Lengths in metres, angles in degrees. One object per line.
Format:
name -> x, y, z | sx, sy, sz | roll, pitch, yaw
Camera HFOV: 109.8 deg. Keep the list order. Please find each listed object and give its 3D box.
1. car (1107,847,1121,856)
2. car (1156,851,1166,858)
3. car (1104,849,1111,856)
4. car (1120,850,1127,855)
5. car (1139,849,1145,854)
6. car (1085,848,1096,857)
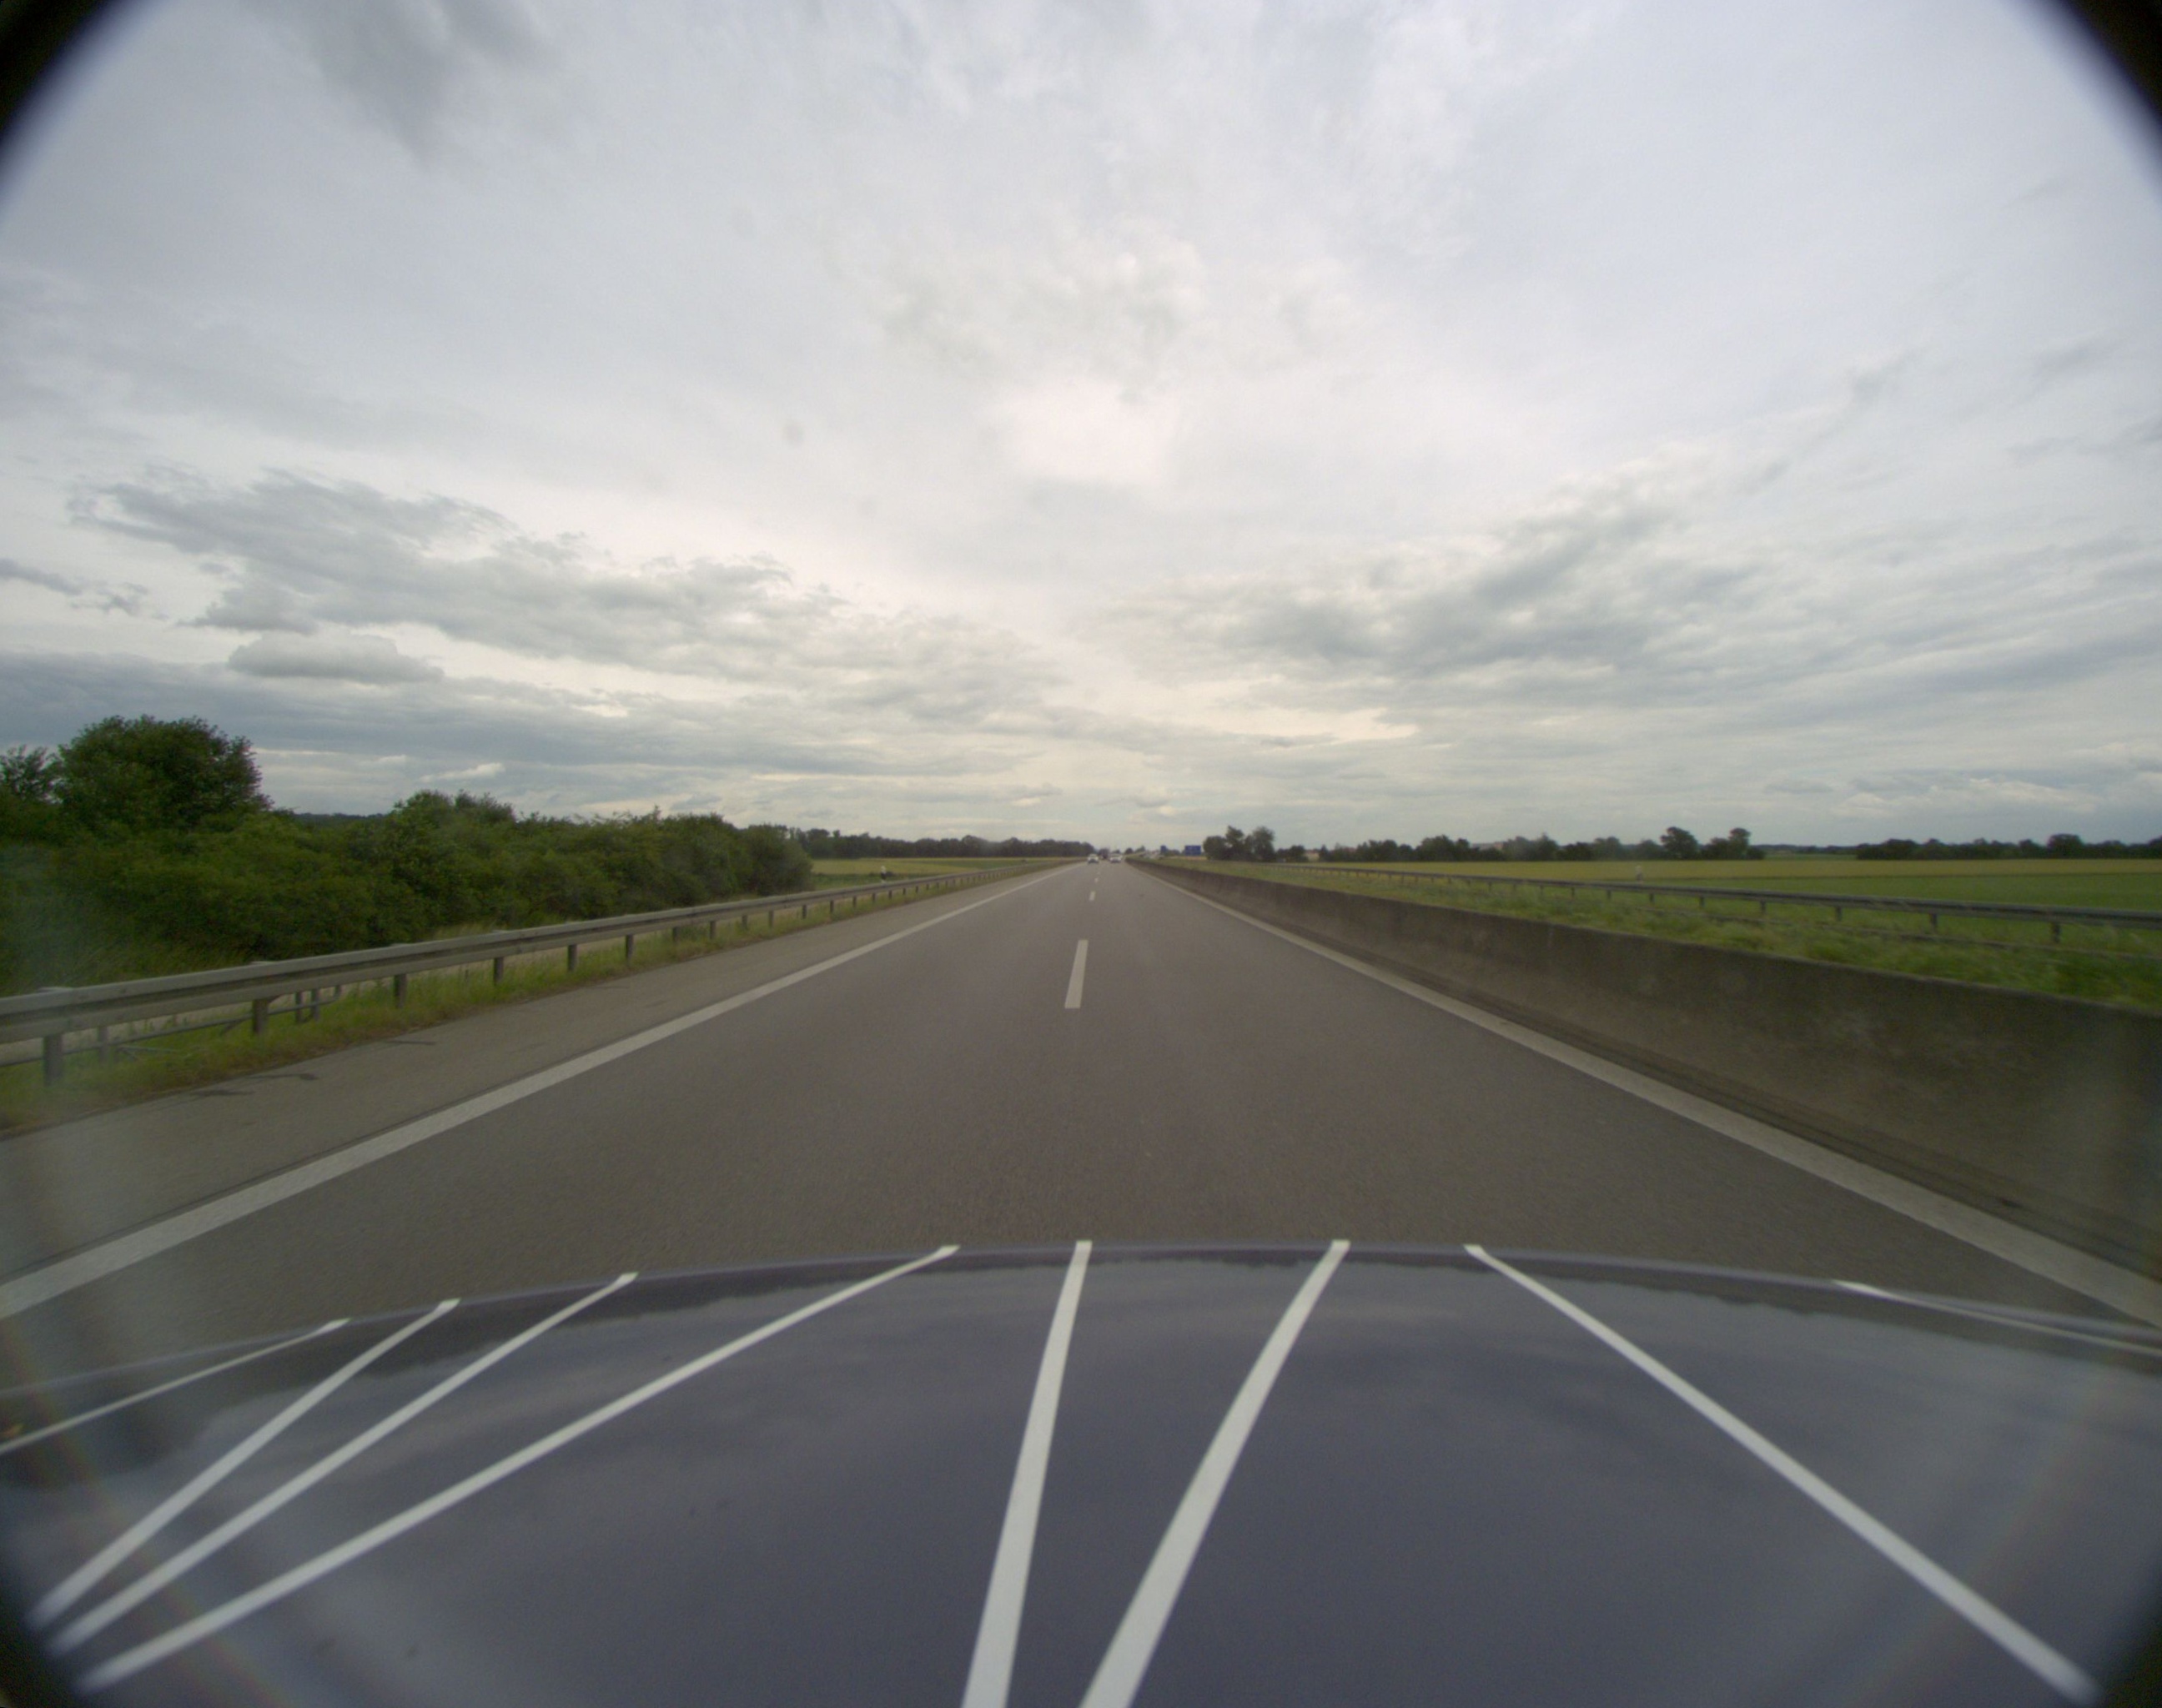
car -> 6.001, -0.400, 138.535 | 1.917, 1.553, 4.286 | -1, 1, -4
car -> 18.693, 0.065, 177.551 | 1.793, 1.463, 4.905 | 1, 0, 1
car -> 7.859, -0.499, 228.987 | 1.915, 2.248, 5.314 | -1, 1, 4
car -> 13.516, -0.539, 243.313 | 1.916, 1.553, 4.288 | -1, 1, 1
car -> 19.917, -0.803, 248.516 | 1.693, 1.483, 4.183 | -1, 0, 1
car -> 1.748, -0.256, 134.362 | 1.916, 1.553, 4.288 | -1, 1, 1
